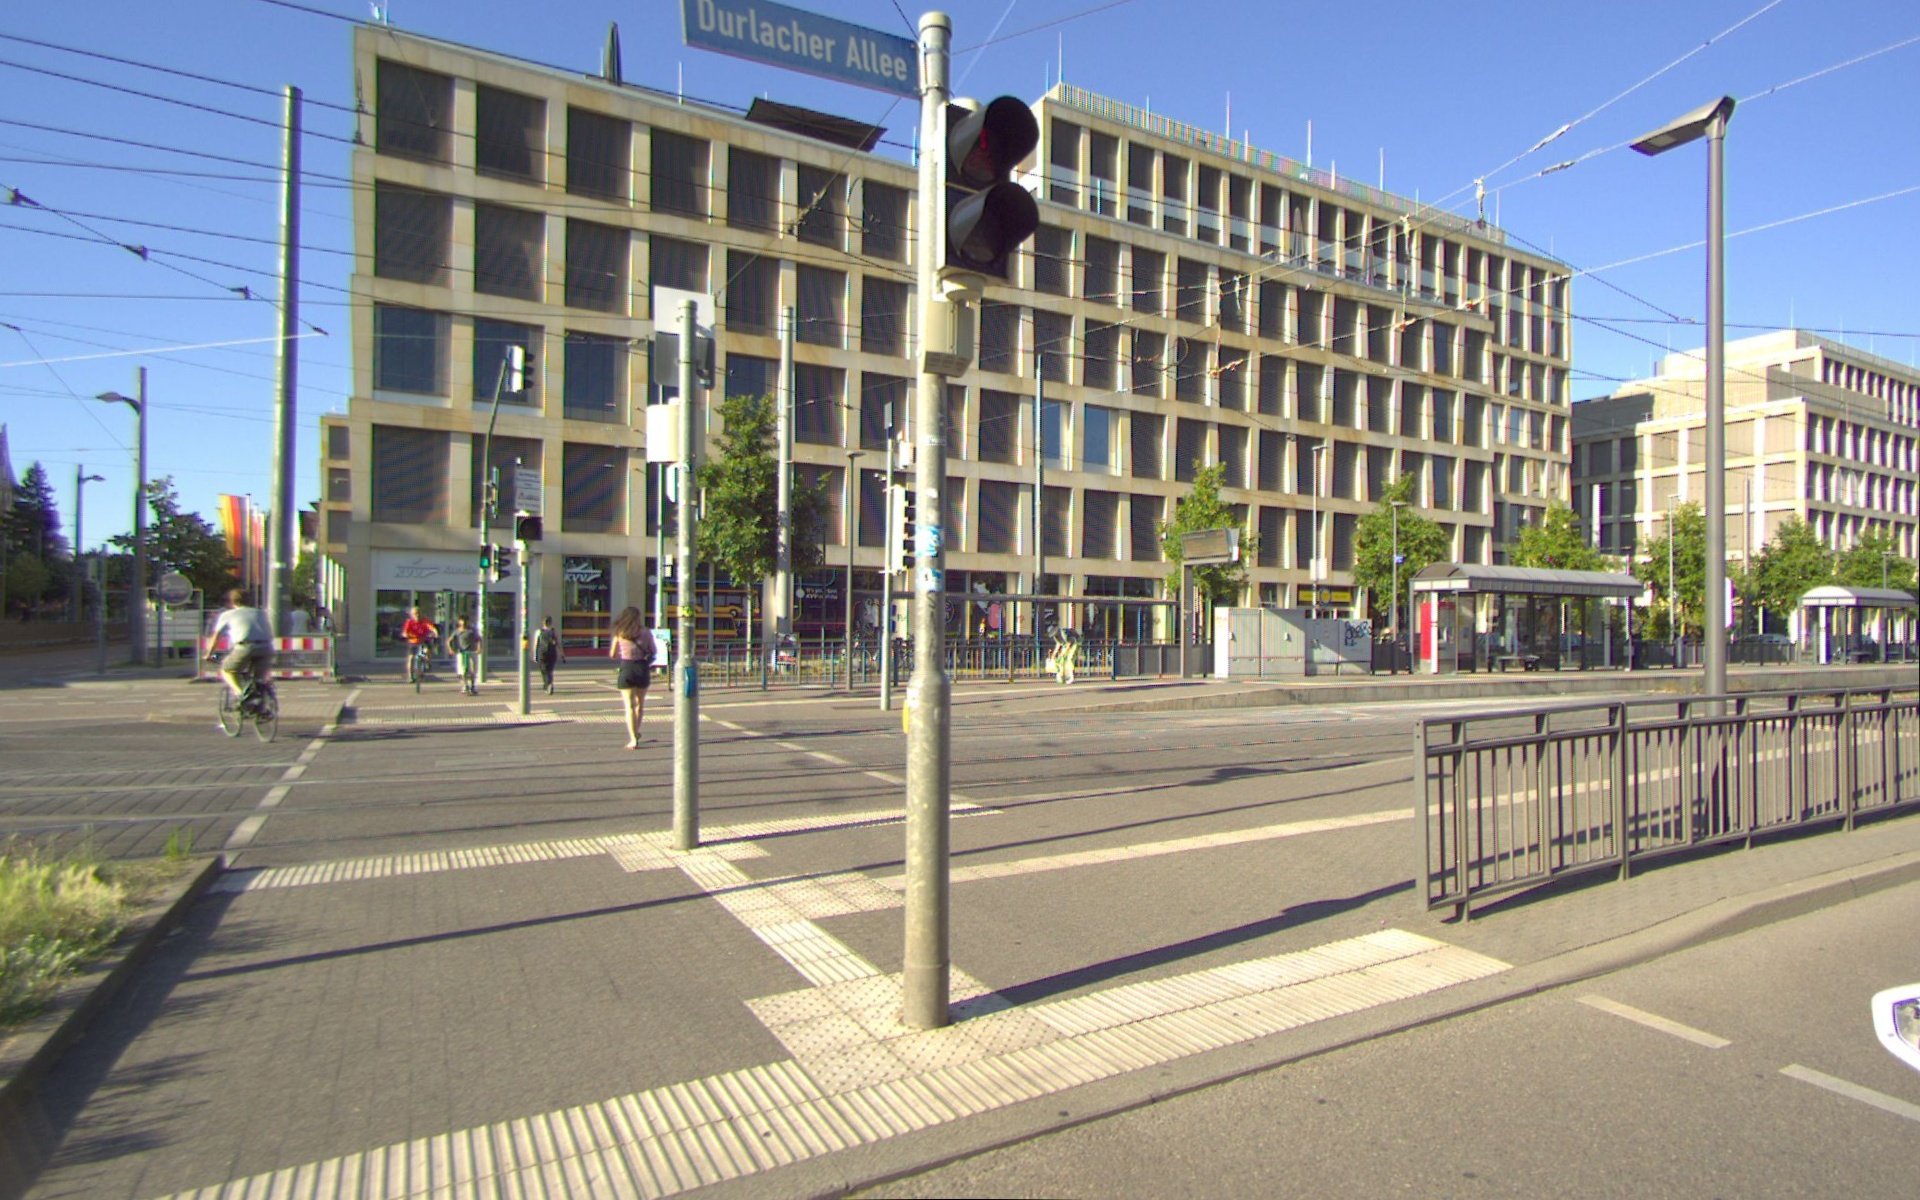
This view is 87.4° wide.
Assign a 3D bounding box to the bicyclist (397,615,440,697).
[{"bbox_3d":[-11.074,1.140,20.559,0.674,1.640,0.627,1,-1,-21],"label":"bicyclist"}]

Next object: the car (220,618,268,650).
[{"bbox_3d":[-42.221,1.984,59.312,1.977,1.847,3.967,1,-1,-31],"label":"car"}]

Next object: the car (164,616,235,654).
[{"bbox_3d":[-31.099,1.416,41.171,1.869,1.483,3.967,1,-1,-31],"label":"car"}]

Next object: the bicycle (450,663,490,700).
[{"bbox_3d":[-9.790,1.620,20.109,0.504,0.617,1.719,1,-1,-20],"label":"bicycle"}]

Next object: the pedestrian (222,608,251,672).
[{"bbox_3d":[-19.528,1.062,27.125,0.576,1.704,0.612,1,-1,-31],"label":"pedestrian"}]

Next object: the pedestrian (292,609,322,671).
[{"bbox_3d":[-18.297,1.113,28.156,0.574,1.704,0.613,1,-1,-24],"label":"pedestrian"}]

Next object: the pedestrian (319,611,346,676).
[{"bbox_3d":[-16.739,1.162,26.791,0.576,1.704,0.612,1,-1,-31],"label":"pedestrian"}]

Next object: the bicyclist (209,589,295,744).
[{"bbox_3d":[-8.690,0.800,12.331,0.656,1.832,0.646,0,-1,32],"label":"bicyclist"}]

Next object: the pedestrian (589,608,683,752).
[{"bbox_3d":[-3.950,0.942,12.237,0.790,1.666,0.921,1,-1,-42],"label":"pedestrian"}]

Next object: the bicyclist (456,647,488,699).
[{"bbox_3d":[-9.715,1.447,20.008,0.503,1.006,0.461,0,-1,-20],"label":"bicyclist"}]

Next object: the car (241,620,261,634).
[{"bbox_3d":[-99.418,3.789,140.951,1.977,2.040,3.967,1,-1,-31],"label":"car"}]

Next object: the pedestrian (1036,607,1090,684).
[{"bbox_3d":[2.274,0.992,22.198,0.921,1.666,0.791,1,-1,-28],"label":"pedestrian"}]

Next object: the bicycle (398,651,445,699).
[{"bbox_3d":[-11.140,1.526,20.804,0.598,0.890,1.882,1,-1,-21],"label":"bicycle"}]

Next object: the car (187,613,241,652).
[{"bbox_3d":[-34.167,1.475,46.074,1.631,1.683,3.620,1,-1,-31],"label":"car"}]

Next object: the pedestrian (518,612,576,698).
[{"bbox_3d":[-8.260,1.087,20.080,0.790,1.666,0.921,1,-1,-42],"label":"pedestrian"}]

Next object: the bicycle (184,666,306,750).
[{"bbox_3d":[-8.820,1.299,12.371,1.856,0.923,0.513,-1,-2,31],"label":"bicycle"}]

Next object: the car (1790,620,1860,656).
[{"bbox_3d":[50.582,2.210,58.719,3.955,2.040,1.983,1,-1,-31],"label":"car"}]

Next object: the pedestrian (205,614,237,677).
[{"bbox_3d":[-20.278,1.231,27.561,0.632,1.704,0.611,1,-1,-32],"label":"pedestrian"}]
